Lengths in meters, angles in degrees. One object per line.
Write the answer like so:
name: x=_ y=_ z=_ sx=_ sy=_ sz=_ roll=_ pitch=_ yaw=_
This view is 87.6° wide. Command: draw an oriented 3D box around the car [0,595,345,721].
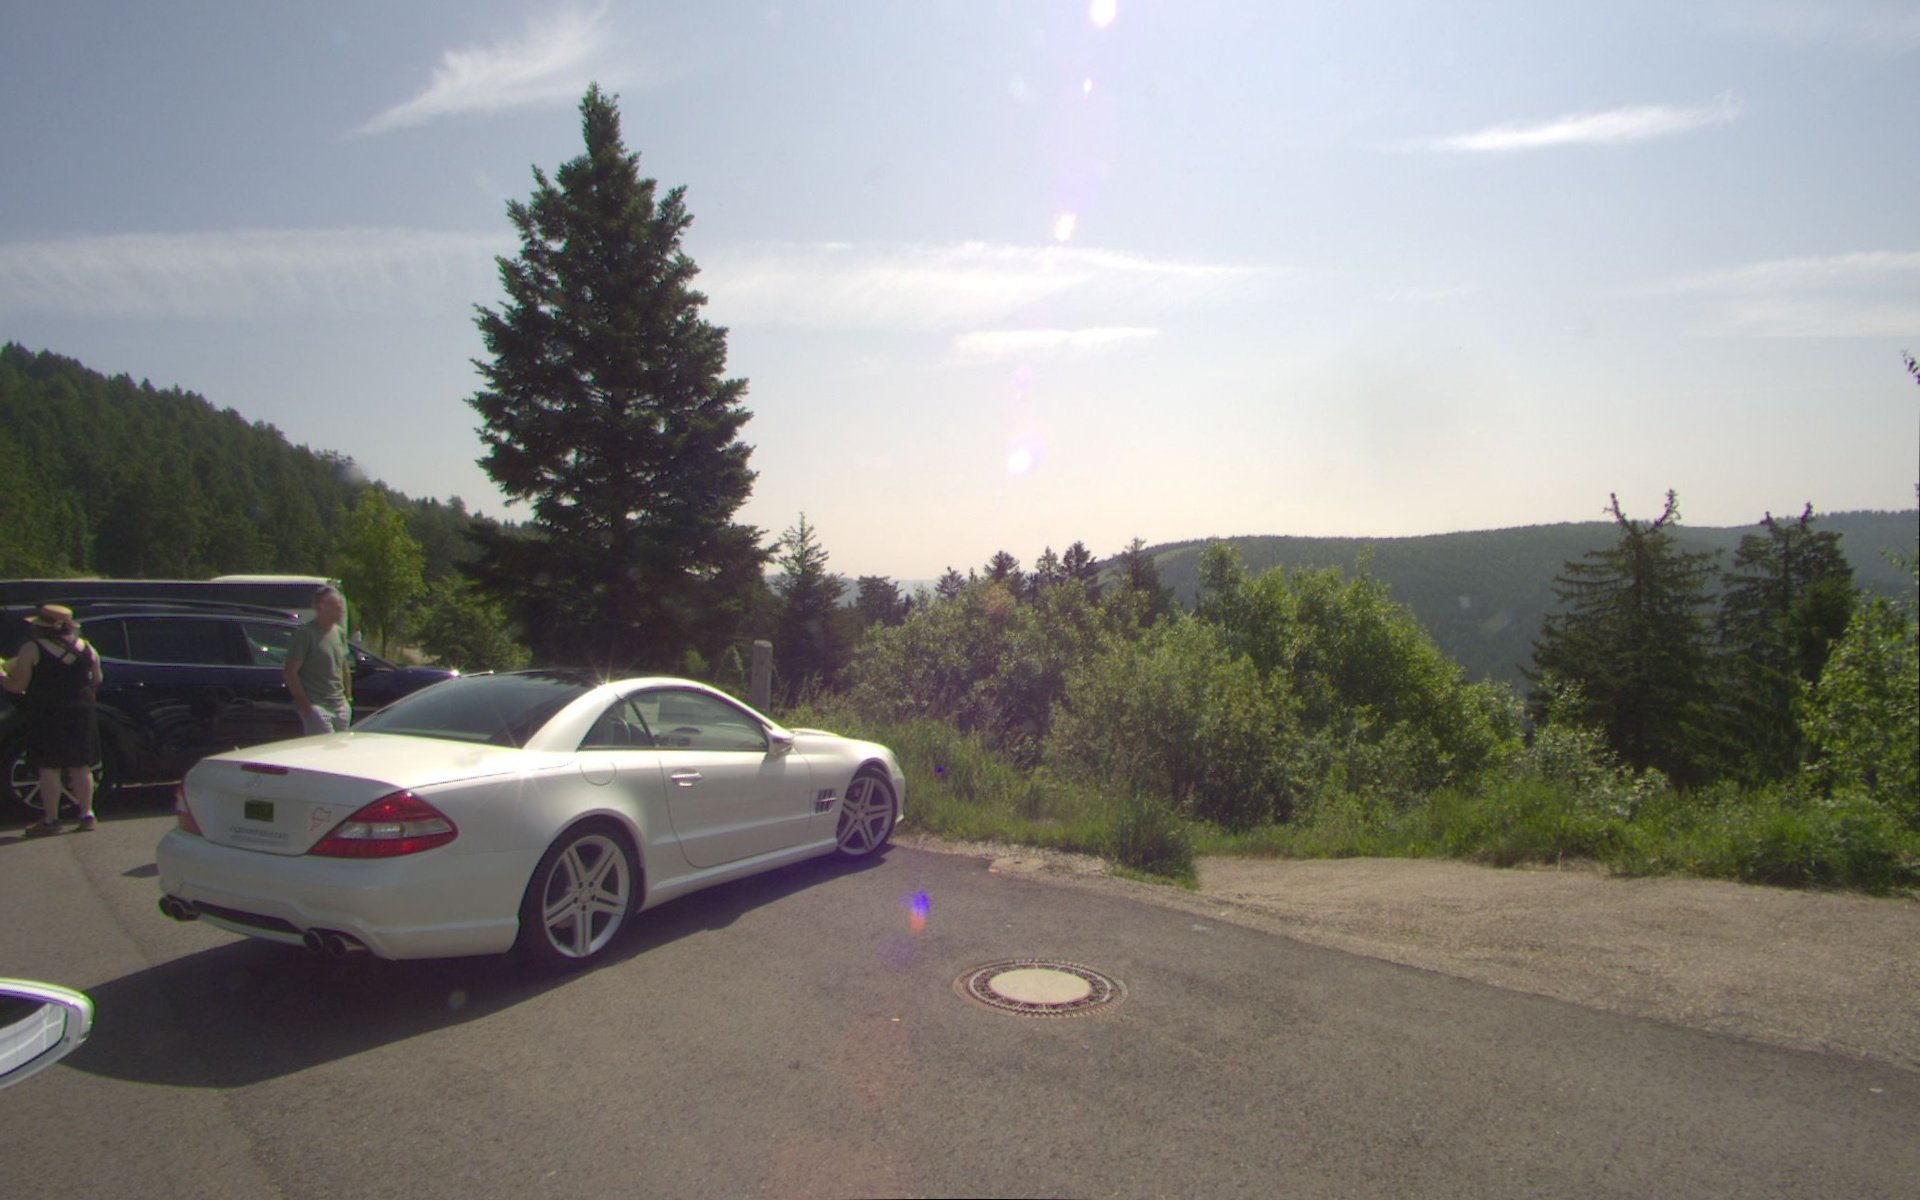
car: x=-12.480 y=0.802 z=15.412 sx=4.909 sy=1.718 sz=1.929 roll=0 pitch=0 yaw=-40

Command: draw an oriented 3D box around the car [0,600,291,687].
car: x=-17.872 y=0.872 z=22.037 sx=4.997 sy=1.673 sz=2.029 roll=-1 pitch=0 yaw=-42

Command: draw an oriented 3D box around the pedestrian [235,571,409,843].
pedestrian: x=-4.546 y=0.735 z=7.176 sx=0.722 sy=1.823 sz=0.747 roll=0 pitch=-1 yaw=16

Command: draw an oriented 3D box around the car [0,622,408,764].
car: x=-8.982 y=0.993 z=11.730 sx=1.681 sy=1.394 sz=4.067 roll=-1 pitch=-3 yaw=39

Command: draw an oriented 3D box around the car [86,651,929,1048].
car: x=-1.954 y=0.990 z=5.844 sx=1.727 sy=1.312 sz=4.401 roll=1 pitch=-2 yaw=25

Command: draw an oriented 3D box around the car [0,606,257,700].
car: x=-16.140 y=0.945 z=19.160 sx=4.212 sy=1.574 sz=1.821 roll=-1 pitch=0 yaw=-42

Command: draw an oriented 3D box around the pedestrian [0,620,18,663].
pedestrian: x=-35.977 y=1.548 z=37.585 sx=0.763 sy=1.606 sz=0.767 roll=-1 pitch=1 yaw=-35

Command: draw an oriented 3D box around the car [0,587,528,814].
car: x=-6.504 y=0.846 z=9.130 sx=1.850 sy=1.646 sz=4.324 roll=-2 pitch=-4 yaw=42

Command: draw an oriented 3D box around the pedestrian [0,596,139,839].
pedestrian: x=-6.462 y=0.805 z=7.190 sx=0.528 sy=1.633 sz=0.714 roll=-1 pitch=-2 yaw=28

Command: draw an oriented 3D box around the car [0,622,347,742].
car: x=-10.764 y=1.025 z=13.401 sx=1.683 sy=1.394 sz=4.062 roll=-1 pitch=-3 yaw=42

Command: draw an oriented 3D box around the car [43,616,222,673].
car: x=-24.477 y=1.267 z=29.722 sx=3.957 sy=1.468 sz=1.844 roll=-1 pitch=0 yaw=-42

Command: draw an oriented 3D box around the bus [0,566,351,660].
bus: x=-33.225 y=0.457 z=42.060 sx=12.953 sy=3.579 sz=3.026 roll=-1 pitch=0 yaw=-32
